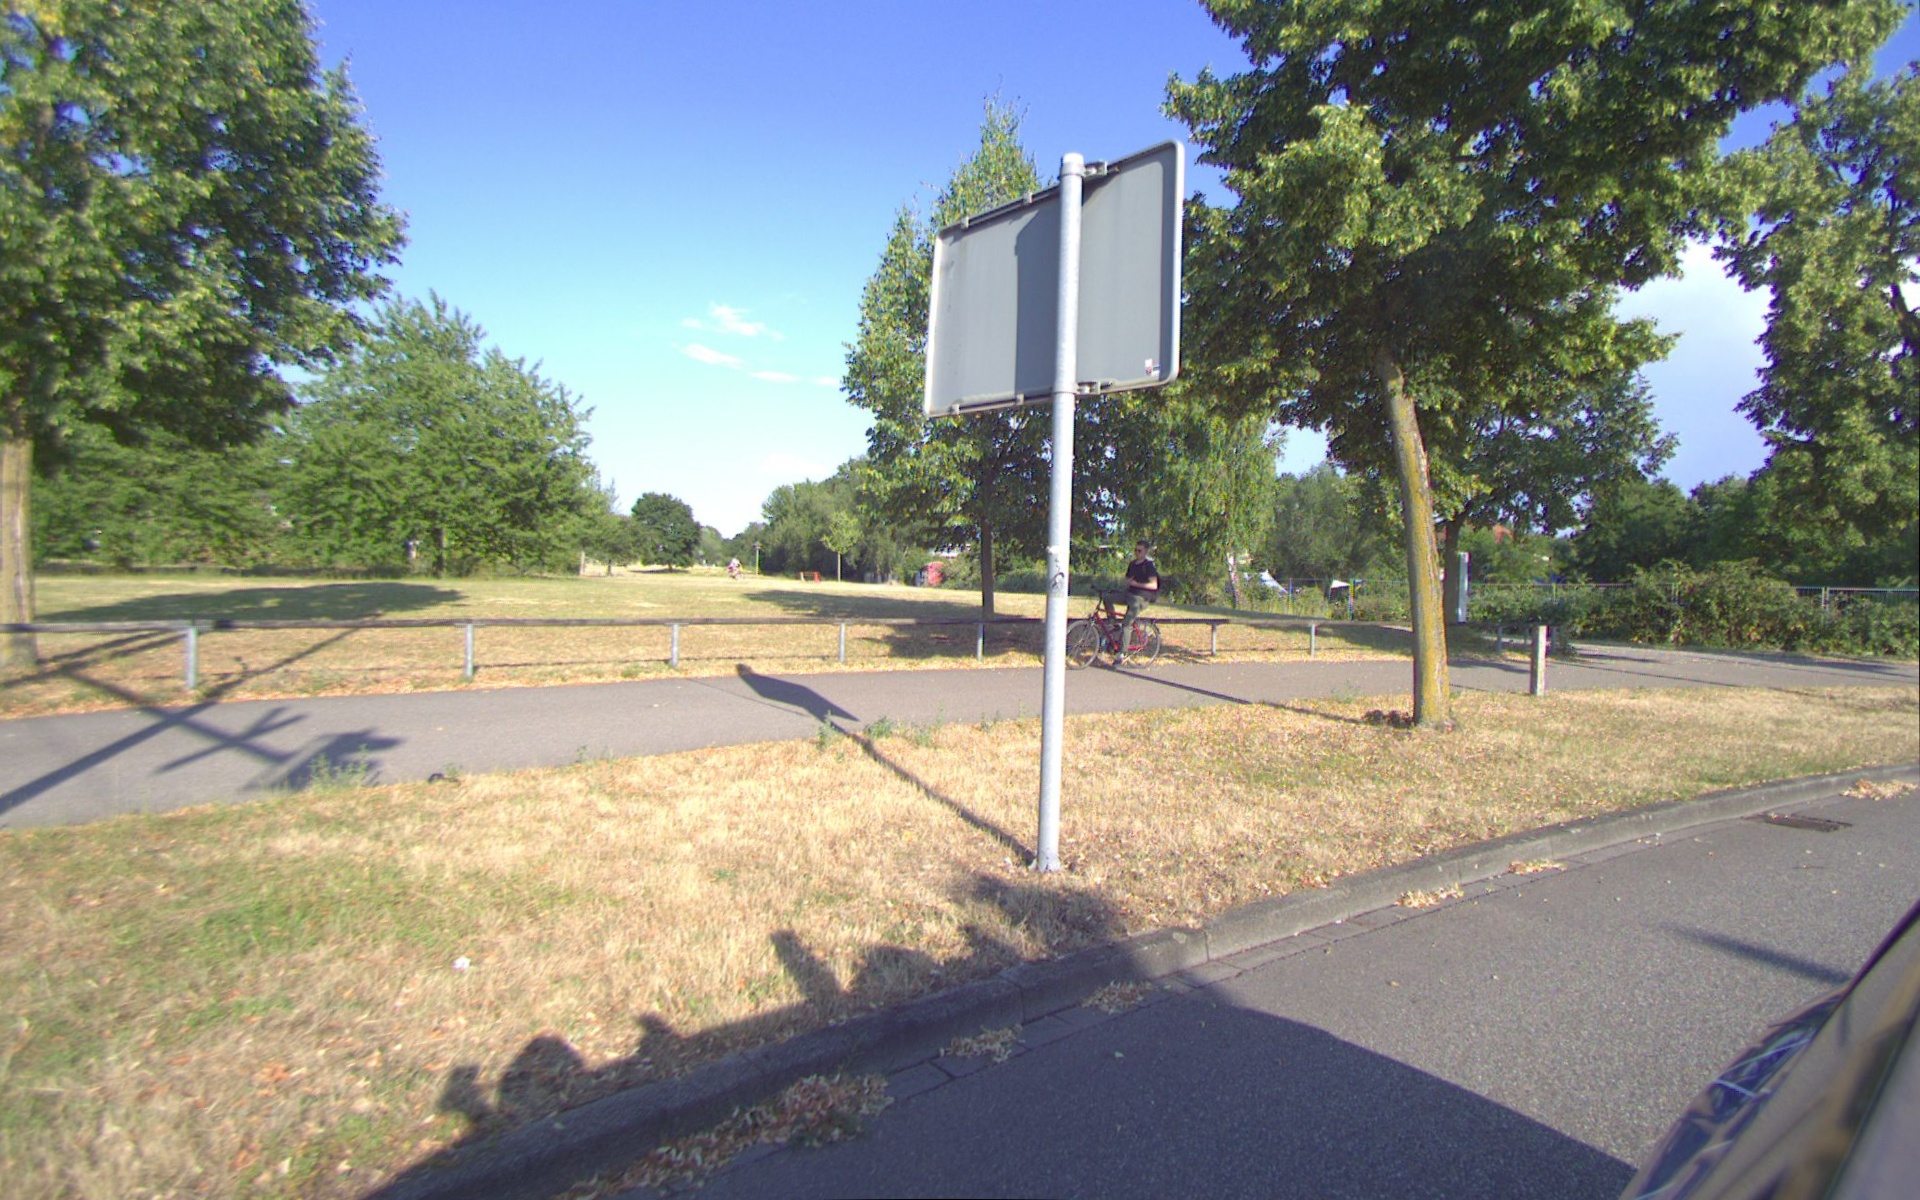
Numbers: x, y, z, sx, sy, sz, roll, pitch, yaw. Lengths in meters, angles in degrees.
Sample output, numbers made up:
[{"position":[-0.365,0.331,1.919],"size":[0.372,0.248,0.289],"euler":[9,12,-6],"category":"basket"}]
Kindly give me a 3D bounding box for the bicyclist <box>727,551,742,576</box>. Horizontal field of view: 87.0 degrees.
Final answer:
[{"position":[-16.646,-2.692,74.757],"size":[0.920,1.802,0.632],"euler":[0,0,29],"category":"bicyclist"}]

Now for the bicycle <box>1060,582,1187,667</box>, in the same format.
[{"position":[2.378,0.357,14.634],"size":[1.851,1.172,0.417],"euler":[1,2,-25],"category":"bicycle"}]

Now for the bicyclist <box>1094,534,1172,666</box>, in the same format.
[{"position":[2.510,-0.006,14.696],"size":[0.813,1.852,0.622],"euler":[2,2,-24],"category":"bicyclist"}]

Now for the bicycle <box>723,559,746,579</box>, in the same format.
[{"position":[-16.652,-2.267,74.757],"size":[1.925,1.468,0.389],"euler":[0,0,29],"category":"bicycle"}]
